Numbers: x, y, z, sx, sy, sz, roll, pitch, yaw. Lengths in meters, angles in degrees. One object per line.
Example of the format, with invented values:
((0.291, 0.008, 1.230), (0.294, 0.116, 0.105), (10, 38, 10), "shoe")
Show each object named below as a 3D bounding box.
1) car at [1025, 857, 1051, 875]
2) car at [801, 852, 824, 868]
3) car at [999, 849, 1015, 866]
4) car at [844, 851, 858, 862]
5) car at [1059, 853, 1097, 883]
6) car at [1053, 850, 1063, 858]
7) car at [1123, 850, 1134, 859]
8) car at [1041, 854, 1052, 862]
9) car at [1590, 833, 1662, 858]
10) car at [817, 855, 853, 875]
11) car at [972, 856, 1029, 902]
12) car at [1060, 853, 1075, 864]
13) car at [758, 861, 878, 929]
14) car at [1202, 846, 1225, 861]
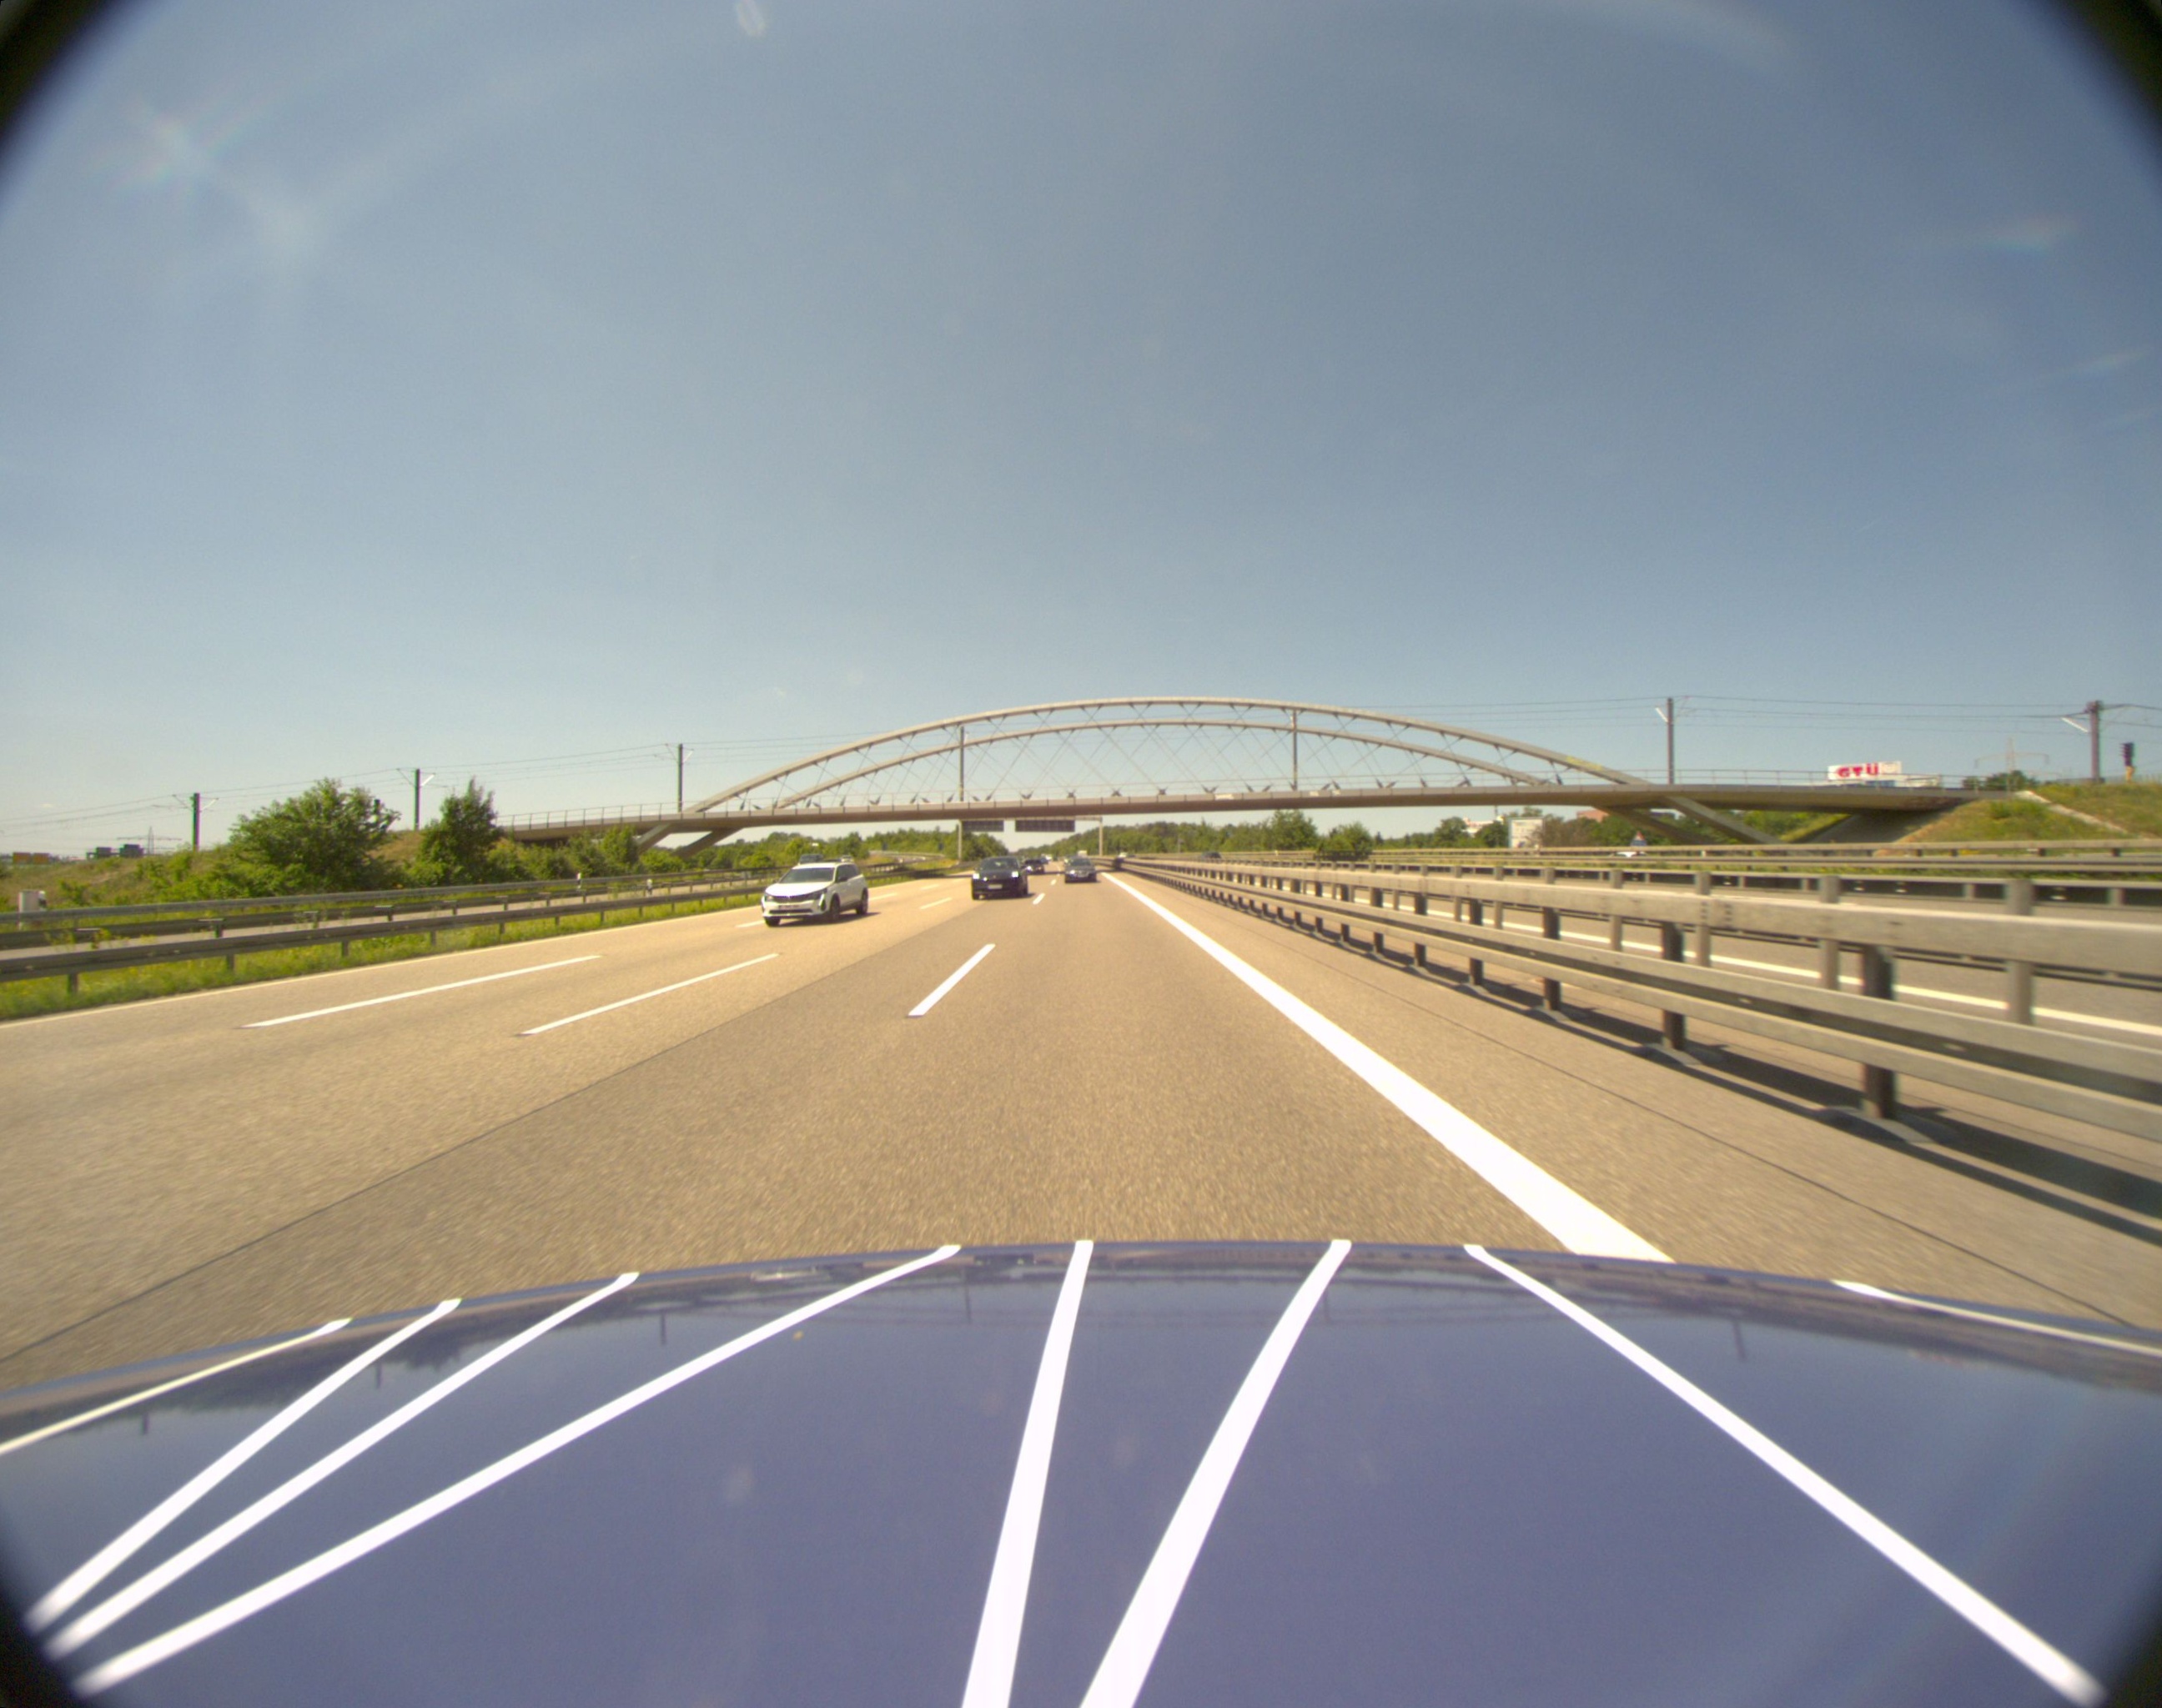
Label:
((-3.657, 0.989, 65.291), (1.932, 1.390, 4.116), (-3, 1, -1), "car")
((-28.842, 0.602, 81.789), (1.705, 1.566, 4.124), (-3, 1, -11), "car")
((-9.068, 0.439, 92.930), (1.809, 1.908, 4.292), (-3, 1, -6), "car")
((-34.899, 0.401, 115.272), (1.706, 1.566, 4.121), (-3, 1, -19), "car")
((-0.106, 0.780, 43.716), (1.931, 1.499, 4.391), (-3, 1, 2), "car")
((-5.688, 0.021, 189.342), (1.998, 1.849, 4.000), (-3, 1, 2), "car")
((9.878, 0.109, 158.968), (1.933, 1.629, 4.976), (-2, 0, 1), "car")
((-6.399, 0.717, 139.654), (1.932, 1.390, 4.116), (-3, 1, -2), "car")
((36.989, -0.557, 51.712), (1.998, 1.608, 4.000), (-2, 0, 0), "car")
((-22.389, 0.990, 69.372), (1.931, 1.586, 4.131), (-3, 1, -1), "car")
((-3.129, 0.922, 30.263), (1.932, 1.586, 4.130), (-3, 1, -3), "car")
((-1.811, 0.588, 103.558), (1.932, 1.390, 4.116), (-3, 1, -2), "car")
((-7.358, 1.078, 21.765), (1.748, 1.582, 4.619), (-3, 1, 0), "car")
((13.581, -0.093, 78.053), (1.662, 1.455, 4.444), (-3, 1, 1), "car")
